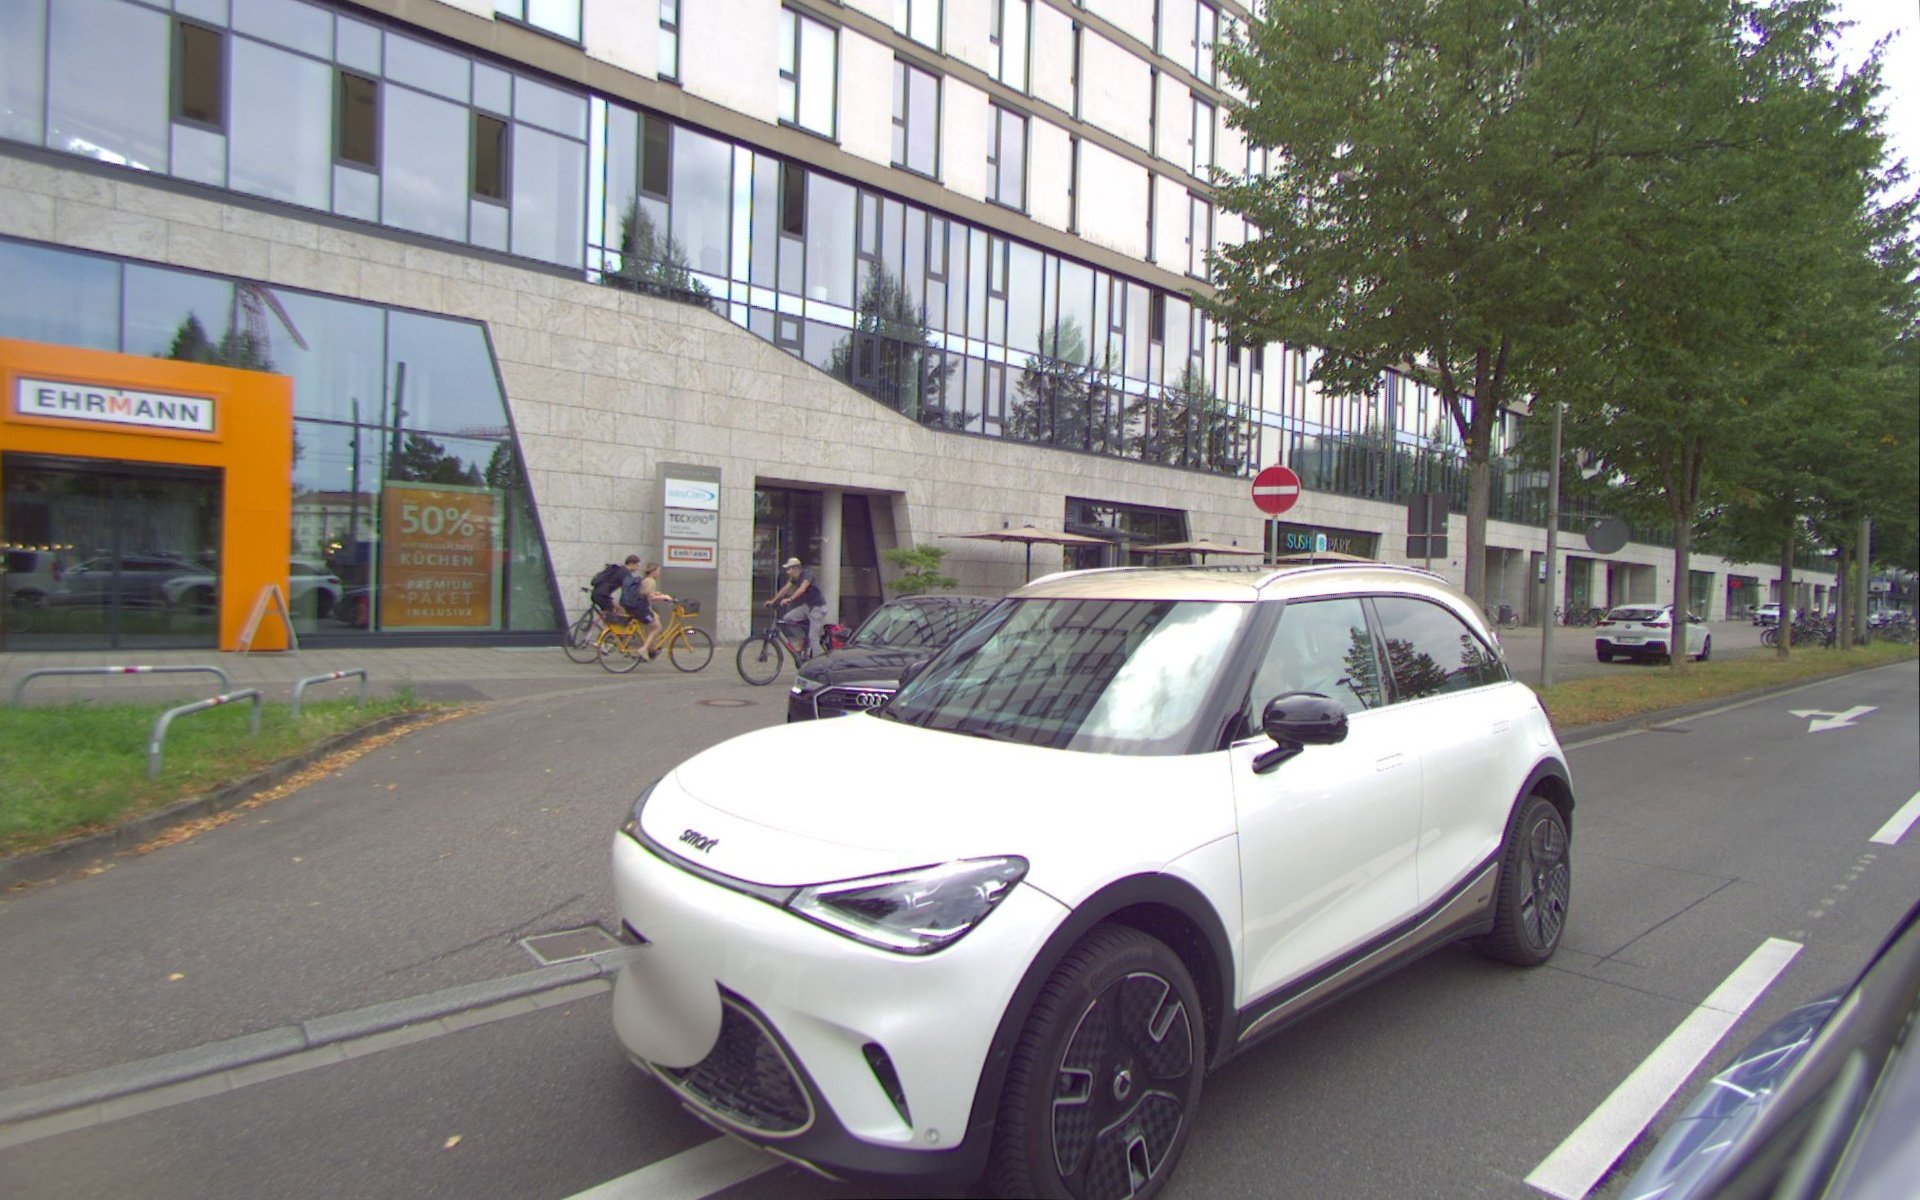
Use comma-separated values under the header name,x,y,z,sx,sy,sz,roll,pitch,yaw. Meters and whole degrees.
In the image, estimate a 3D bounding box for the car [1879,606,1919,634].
name,x,y,z,sx,sy,sz,roll,pitch,yaw
car,53.437,1.112,57.183,4.109,1.439,1.763,1,1,-41

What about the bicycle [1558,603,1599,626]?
name,x,y,z,sx,sy,sz,roll,pitch,yaw
bicycle,29.837,0.679,48.816,0.524,1.039,1.599,1,2,-43

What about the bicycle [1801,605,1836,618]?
name,x,y,z,sx,sy,sz,roll,pitch,yaw
bicycle,79.999,1.058,94.300,2.417,1.191,1.185,2,1,43

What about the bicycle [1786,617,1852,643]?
name,x,y,z,sx,sy,sz,roll,pitch,yaw
bicycle,32.975,1.157,38.854,0.602,0.963,1.862,1,-2,-43

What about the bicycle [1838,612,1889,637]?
name,x,y,z,sx,sy,sz,roll,pitch,yaw
bicycle,40.756,1.102,45.665,0.516,1.104,1.669,1,-2,-43

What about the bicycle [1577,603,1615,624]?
name,x,y,z,sx,sy,sz,roll,pitch,yaw
bicycle,32.379,0.684,51.503,0.524,1.039,1.531,1,1,-43

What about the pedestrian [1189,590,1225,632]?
name,x,y,z,sx,sy,sz,roll,pitch,yaw
pedestrian,7.330,0.333,30.052,0.745,1.207,0.720,1,1,-41

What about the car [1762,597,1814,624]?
name,x,y,z,sx,sy,sz,roll,pitch,yaw
car,54.969,0.664,67.165,4.165,1.607,1.862,1,3,-41

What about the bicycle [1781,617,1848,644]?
name,x,y,z,sx,sy,sz,roll,pitch,yaw
bicycle,32.405,1.158,38.399,0.642,0.963,1.862,1,-2,-43

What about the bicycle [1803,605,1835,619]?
name,x,y,z,sx,sy,sz,roll,pitch,yaw
bicycle,79.226,1.060,93.349,2.231,1.191,0.961,2,1,43

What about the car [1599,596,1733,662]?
name,x,y,z,sx,sy,sz,roll,pitch,yaw
car,19.041,0.734,27.218,4.513,1.571,1.941,1,1,-42

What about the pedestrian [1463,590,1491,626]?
name,x,y,z,sx,sy,sz,roll,pitch,yaw
pedestrian,21.471,0.332,42.047,0.707,1.424,0.759,1,1,-33

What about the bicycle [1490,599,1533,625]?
name,x,y,z,sx,sy,sz,roll,pitch,yaw
bicycle,24.224,0.523,44.478,1.585,1.039,0.606,3,1,23

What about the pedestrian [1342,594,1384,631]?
name,x,y,z,sx,sy,sz,roll,pitch,yaw
pedestrian,13.779,0.426,34.611,1.083,1.207,0.776,1,1,-26

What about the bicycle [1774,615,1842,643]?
name,x,y,z,sx,sy,sz,roll,pitch,yaw
bicycle,31.370,1.087,37.472,0.564,1.008,1.862,1,-2,-43

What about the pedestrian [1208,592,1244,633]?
name,x,y,z,sx,sy,sz,roll,pitch,yaw
pedestrian,8.058,0.383,30.676,0.745,1.207,0.720,1,1,-39

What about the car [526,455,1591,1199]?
name,x,y,z,sx,sy,sz,roll,pitch,yaw
car,0.711,0.596,3.807,3.953,1.678,1.781,1,-1,-42

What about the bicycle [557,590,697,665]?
name,x,y,z,sx,sy,sz,roll,pitch,yaw
bicycle,-5.296,0.419,16.167,1.972,1.053,0.675,1,8,-41

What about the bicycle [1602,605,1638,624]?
name,x,y,z,sx,sy,sz,roll,pitch,yaw
bicycle,35.347,0.762,54.223,0.524,0.965,1.531,1,1,-43

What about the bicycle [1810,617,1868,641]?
name,x,y,z,sx,sy,sz,roll,pitch,yaw
bicycle,35.564,1.180,40.976,1.742,0.987,0.600,-2,-2,42

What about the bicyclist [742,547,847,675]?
name,x,y,z,sx,sy,sz,roll,pitch,yaw
bicyclist,-2.461,0.142,15.011,1.110,1.758,0.999,1,4,-42

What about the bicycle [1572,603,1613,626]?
name,x,y,z,sx,sy,sz,roll,pitch,yaw
bicycle,31.394,0.696,50.245,0.524,1.039,1.599,1,2,-43

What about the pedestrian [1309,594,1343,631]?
name,x,y,z,sx,sy,sz,roll,pitch,yaw
pedestrian,12.386,0.406,34.247,0.743,1.207,0.722,1,1,-18

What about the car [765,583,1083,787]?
name,x,y,z,sx,sy,sz,roll,pitch,yaw
car,-0.040,0.611,10.245,1.919,1.494,4.849,2,1,14

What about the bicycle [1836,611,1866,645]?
name,x,y,z,sx,sy,sz,roll,pitch,yaw
bicycle,30.357,0.958,34.484,0.709,1.130,2.170,-2,-2,41

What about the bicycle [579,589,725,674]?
name,x,y,z,sx,sy,sz,roll,pitch,yaw
bicycle,-4.660,0.465,15.390,1.971,1.157,0.675,1,5,-39

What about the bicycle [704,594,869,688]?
name,x,y,z,sx,sy,sz,roll,pitch,yaw
bicycle,-2.525,0.563,14.930,2.229,1.250,0.903,1,2,-42

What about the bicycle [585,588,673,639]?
name,x,y,z,sx,sy,sz,roll,pitch,yaw
bicycle,-6.178,0.247,18.939,1.466,0.921,0.519,1,1,-41

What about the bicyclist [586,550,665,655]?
name,x,y,z,sx,sy,sz,roll,pitch,yaw
bicyclist,-5.348,0.030,16.196,0.972,1.601,0.726,0,3,-41

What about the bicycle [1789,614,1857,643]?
name,x,y,z,sx,sy,sz,roll,pitch,yaw
bicycle,33.494,1.104,39.294,0.693,1.079,1.931,1,-2,-43

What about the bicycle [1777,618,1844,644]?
name,x,y,z,sx,sy,sz,roll,pitch,yaw
bicycle,31.847,1.159,37.921,0.493,0.963,1.862,1,-2,-43

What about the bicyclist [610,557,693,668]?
name,x,y,z,sx,sy,sz,roll,pitch,yaw
bicyclist,-4.662,0.172,15.296,0.972,1.601,0.726,0,3,-41

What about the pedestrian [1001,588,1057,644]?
name,x,y,z,sx,sy,sz,roll,pitch,yaw
pedestrian,1.610,0.362,23.597,0.932,1.243,0.900,1,1,-36
